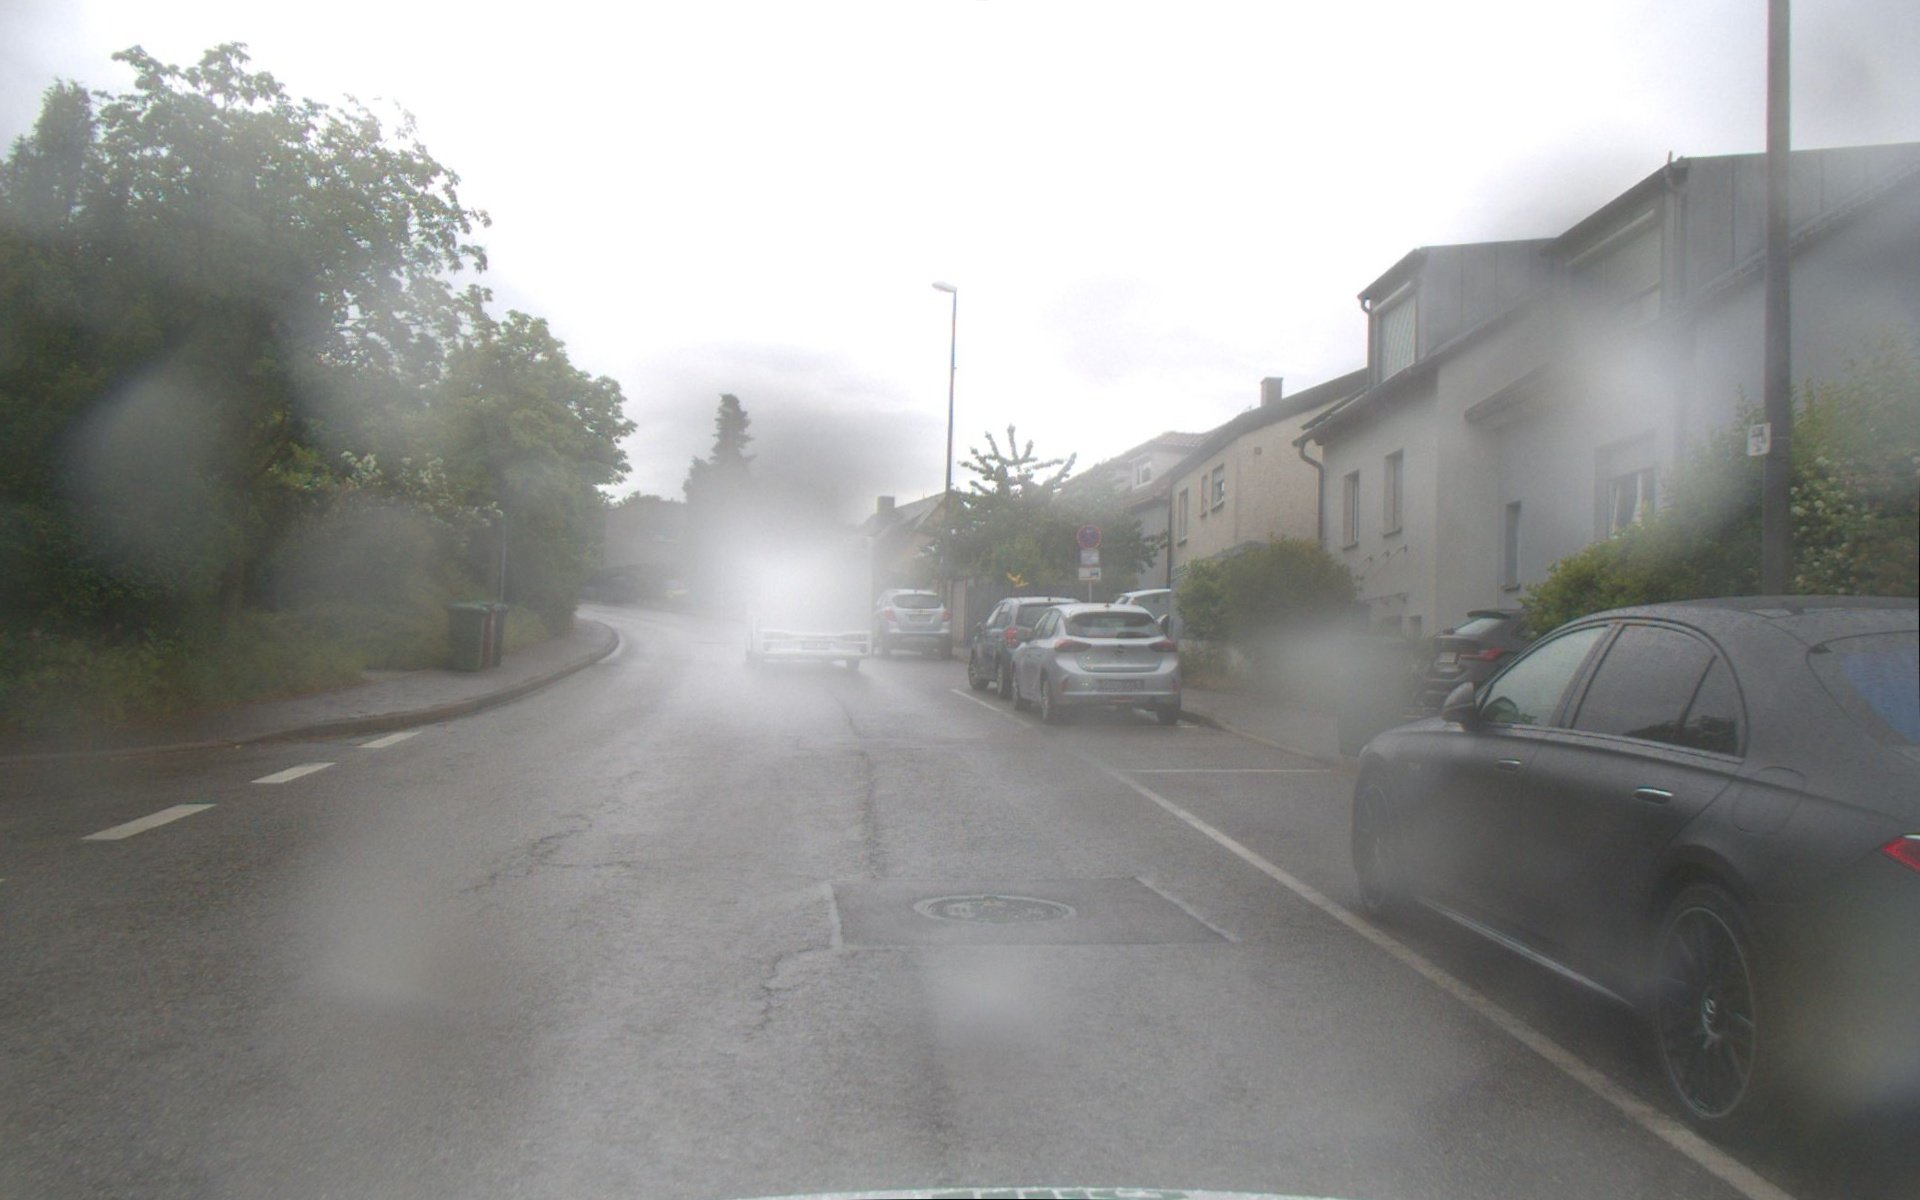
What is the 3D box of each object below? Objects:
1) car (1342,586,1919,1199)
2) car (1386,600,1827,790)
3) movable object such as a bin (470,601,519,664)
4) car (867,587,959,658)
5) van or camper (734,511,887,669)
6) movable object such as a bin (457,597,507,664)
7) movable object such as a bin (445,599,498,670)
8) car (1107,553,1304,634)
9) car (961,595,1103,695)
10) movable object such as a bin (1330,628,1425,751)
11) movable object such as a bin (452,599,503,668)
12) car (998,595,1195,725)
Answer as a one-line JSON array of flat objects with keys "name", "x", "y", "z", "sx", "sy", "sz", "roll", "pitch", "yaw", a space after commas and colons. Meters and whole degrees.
[{"name": "car", "x": 3.004, "y": 0.732, "z": 6.061, "sx": 1.820, "sy": 1.553, "sz": 5.061, "roll": -1, "pitch": 0, "yaw": -3}, {"name": "car", "x": 6.968, "y": 0.994, "z": 18.092, "sx": 3.913, "sy": 1.466, "sz": 1.997, "roll": 8, "pitch": -1, "yaw": -6}, {"name": "movable object such as a bin", "x": -8.132, "y": 0.561, "z": 28.916, "sx": 0.755, "sy": 1.086, "sz": 0.688, "roll": 1, "pitch": 0, "yaw": -13}, {"name": "car", "x": -1.240, "y": 0.527, "z": 41.357, "sx": 1.771, "sy": 1.655, "sz": 4.279, "roll": -1, "pitch": 0, "yaw": -9}, {"name": "van or camper", "x": -3.249, "y": -0.183, "z": 34.603, "sx": 2.495, "sy": 2.976, "sz": 5.930, "roll": 1, "pitch": 0, "yaw": -12}, {"name": "movable object such as a bin", "x": -8.133, "y": 0.511, "z": 28.176, "sx": 0.755, "sy": 1.116, "sz": 0.669, "roll": 1, "pitch": 0, "yaw": -13}, {"name": "movable object such as a bin", "x": -7.879, "y": 0.554, "z": 26.678, "sx": 0.755, "sy": 1.116, "sz": 0.736, "roll": 1, "pitch": 0, "yaw": -13}, {"name": "car", "x": 5.357, "y": -0.115, "z": 36.375, "sx": 3.910, "sy": 1.617, "sz": 1.932, "roll": 2, "pitch": -1, "yaw": -6}, {"name": "car", "x": 1.107, "y": 0.671, "z": 27.013, "sx": 1.628, "sy": 1.493, "sz": 3.756, "roll": -1, "pitch": 0, "yaw": -9}, {"name": "movable object such as a bin", "x": 3.827, "y": 0.810, "z": 15.193, "sx": 0.662, "sy": 1.086, "sz": 0.645, "roll": 1, "pitch": 0, "yaw": -5}, {"name": "movable object such as a bin", "x": -7.999, "y": 0.547, "z": 27.438, "sx": 0.755, "sy": 1.116, "sz": 0.736, "roll": 1, "pitch": 0, "yaw": -13}, {"name": "car", "x": 1.678, "y": 0.703, "z": 21.742, "sx": 1.735, "sy": 1.493, "sz": 4.228, "roll": -1, "pitch": 0, "yaw": -7}]
